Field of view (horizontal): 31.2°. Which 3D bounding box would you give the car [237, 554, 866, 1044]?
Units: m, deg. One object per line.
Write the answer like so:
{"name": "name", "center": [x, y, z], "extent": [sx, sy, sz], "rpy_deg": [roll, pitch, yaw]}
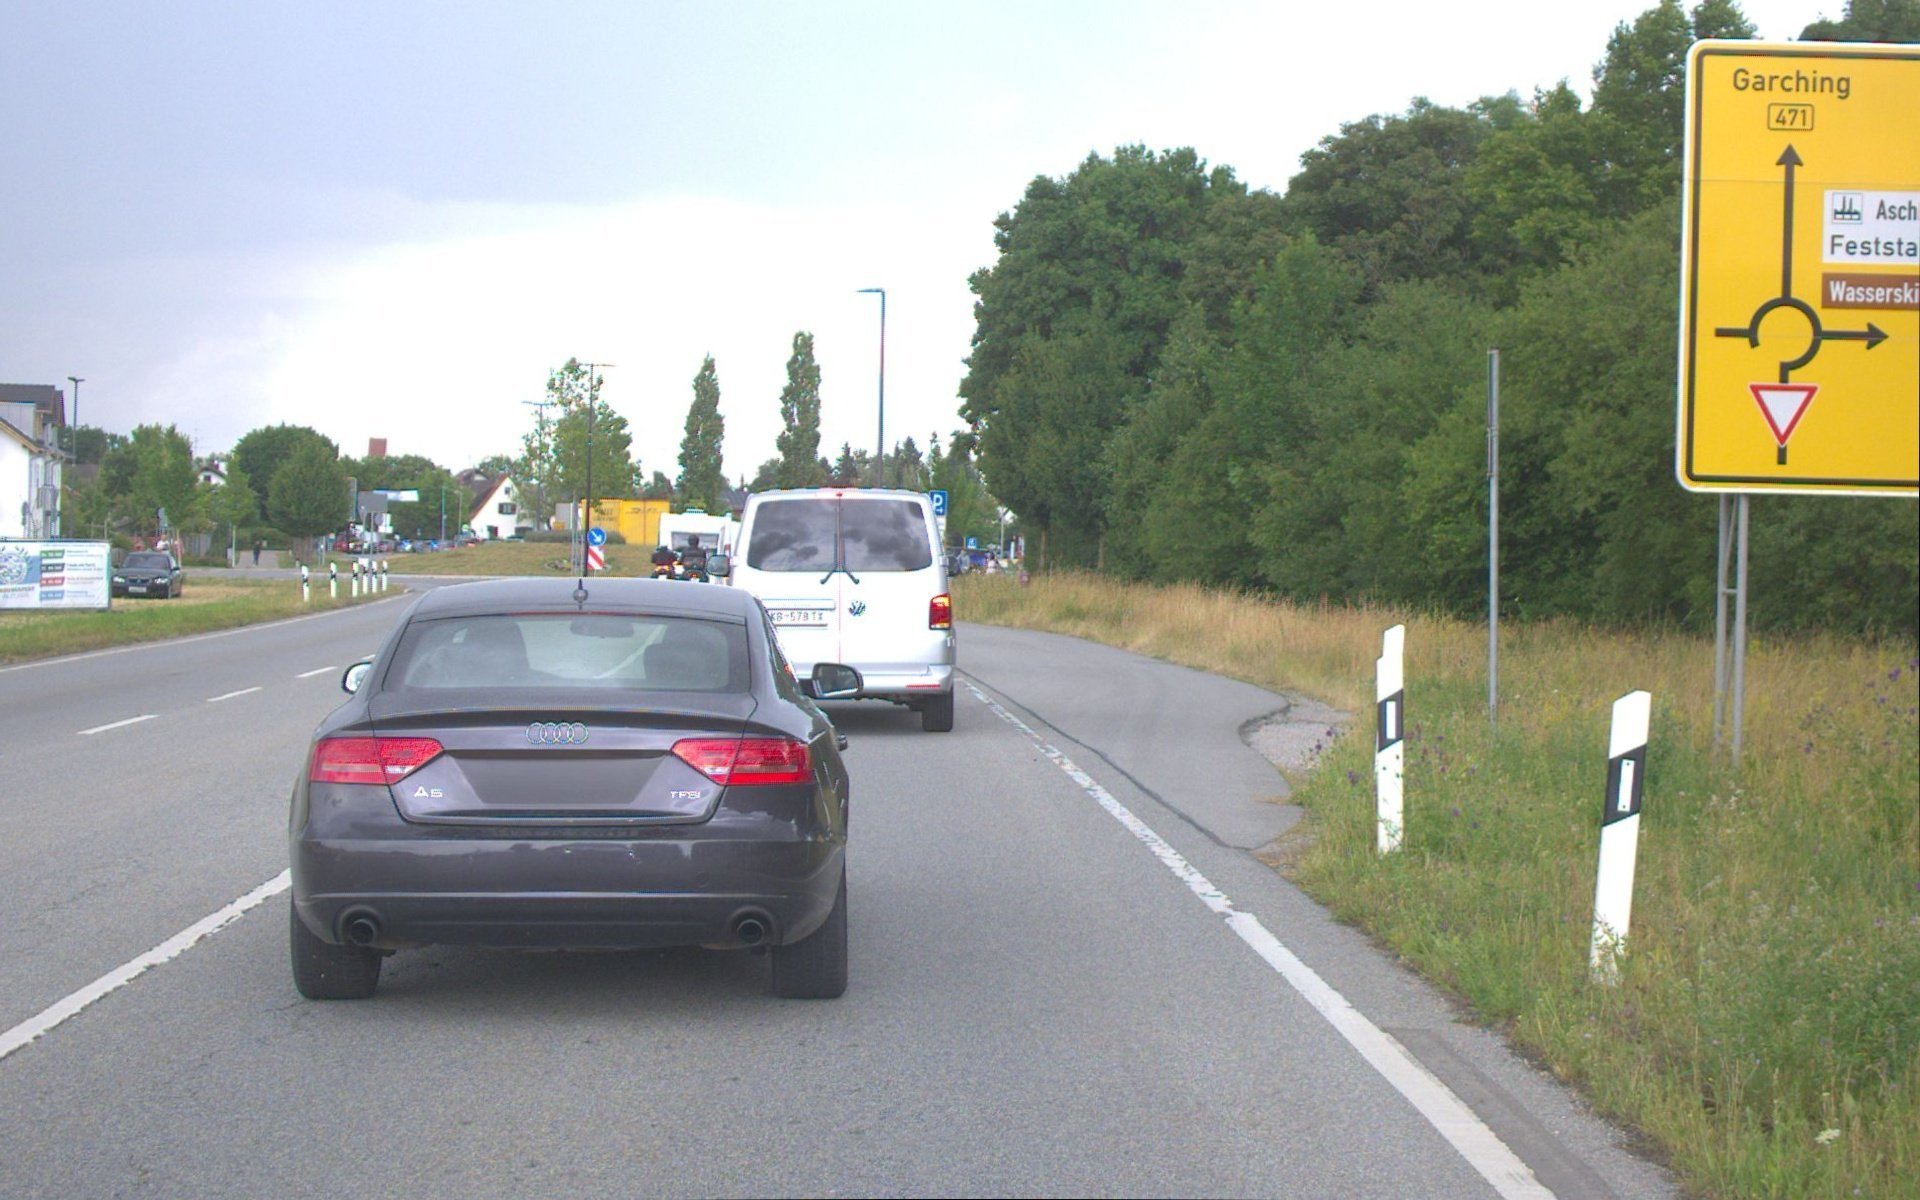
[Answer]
{"name": "car", "center": [-1.343, 0.575, 12.421], "extent": [1.875, 1.449, 4.177], "rpy_deg": [0, 1, -3]}

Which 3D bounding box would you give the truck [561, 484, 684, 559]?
{"name": "truck", "center": [-17.085, -3.984, 173.280], "extent": [3.575, 3.566, 9.960], "rpy_deg": [1, 1, -21]}

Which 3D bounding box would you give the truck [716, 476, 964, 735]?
{"name": "truck", "center": [-1.038, 0.002, 29.120], "extent": [1.904, 1.991, 4.629], "rpy_deg": [1, 1, -3]}

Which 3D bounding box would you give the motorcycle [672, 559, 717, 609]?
{"name": "motorcycle", "center": [-6.082, -0.374, 78.801], "extent": [0.920, 1.090, 2.189], "rpy_deg": [1, 1, -2]}

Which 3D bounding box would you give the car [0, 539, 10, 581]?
{"name": "car", "center": [-33.945, -1.361, 115.554], "extent": [1.995, 1.441, 4.208], "rpy_deg": [1, 1, 16]}

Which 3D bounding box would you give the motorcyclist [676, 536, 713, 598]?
{"name": "motorcyclist", "center": [-6.084, -0.759, 78.823], "extent": [0.772, 1.379, 0.820], "rpy_deg": [1, 1, -1]}

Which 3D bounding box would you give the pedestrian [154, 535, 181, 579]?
{"name": "pedestrian", "center": [-28.763, -1.552, 124.796], "extent": [0.701, 1.580, 0.657], "rpy_deg": [1, 1, 14]}

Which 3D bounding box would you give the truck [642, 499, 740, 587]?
{"name": "truck", "center": [-8.791, -1.844, 111.882], "extent": [2.625, 2.728, 5.869], "rpy_deg": [1, 1, -9]}

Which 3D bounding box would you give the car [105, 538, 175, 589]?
{"name": "car", "center": [-24.721, -1.113, 103.584], "extent": [1.993, 1.437, 4.002], "rpy_deg": [1, 2, -14]}

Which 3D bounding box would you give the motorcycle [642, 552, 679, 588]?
{"name": "motorcycle", "center": [-8.780, -0.881, 100.679], "extent": [0.944, 1.016, 2.284], "rpy_deg": [1, 1, -8]}

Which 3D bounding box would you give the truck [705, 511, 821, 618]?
{"name": "truck", "center": [-3.872, -0.720, 68.160], "extent": [2.193, 2.007, 5.085], "rpy_deg": [1, 1, -3]}

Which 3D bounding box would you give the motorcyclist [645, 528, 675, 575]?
{"name": "motorcyclist", "center": [-8.779, -1.424, 100.630], "extent": [0.785, 1.352, 0.854], "rpy_deg": [1, 1, -9]}
